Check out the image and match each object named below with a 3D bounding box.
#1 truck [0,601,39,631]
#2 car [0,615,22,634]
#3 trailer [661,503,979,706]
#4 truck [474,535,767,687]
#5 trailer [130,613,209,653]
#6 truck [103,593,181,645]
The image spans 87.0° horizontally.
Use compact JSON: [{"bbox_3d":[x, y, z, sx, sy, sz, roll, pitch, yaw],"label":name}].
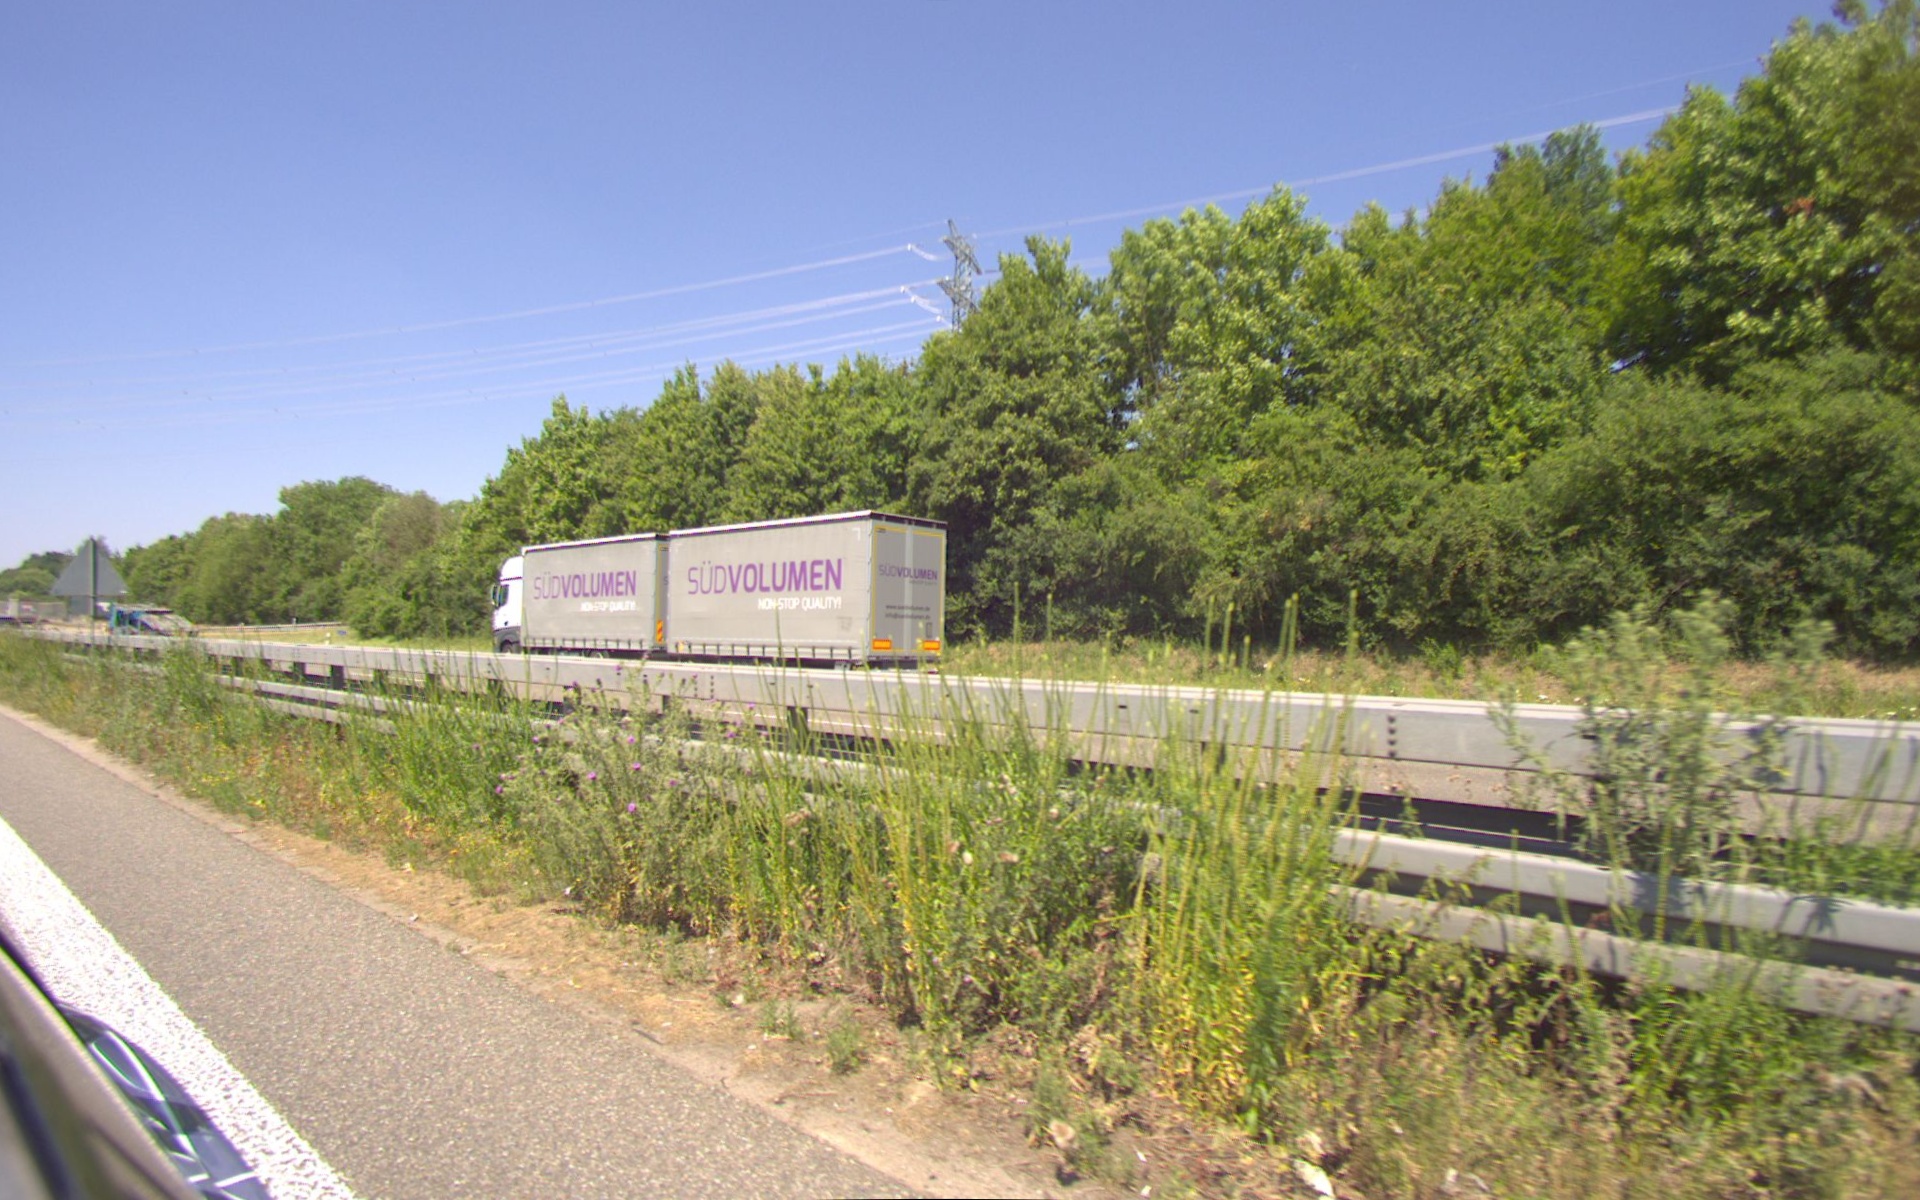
[{"bbox_3d":[-160.556,2.790,171.758,14.505,4.374,2.971,-3,-3,34],"label":"truck"},{"bbox_3d":[-85.457,2.185,90.519,4.858,1.669,1.706,-1,-4,41],"label":"car"},{"bbox_3d":[-3.708,0.113,25.395,7.964,4.312,3.419,-1,0,40],"label":"trailer"},{"bbox_3d":[-10.947,0.418,31.719,11.114,4.025,3.418,-1,-2,40],"label":"truck"},{"bbox_3d":[-56.977,2.278,72.838,8.530,2.659,3.112,-1,0,43],"label":"trailer"},{"bbox_3d":[-64.182,1.519,79.300,10.785,3.831,2.964,-1,-2,42],"label":"truck"}]
